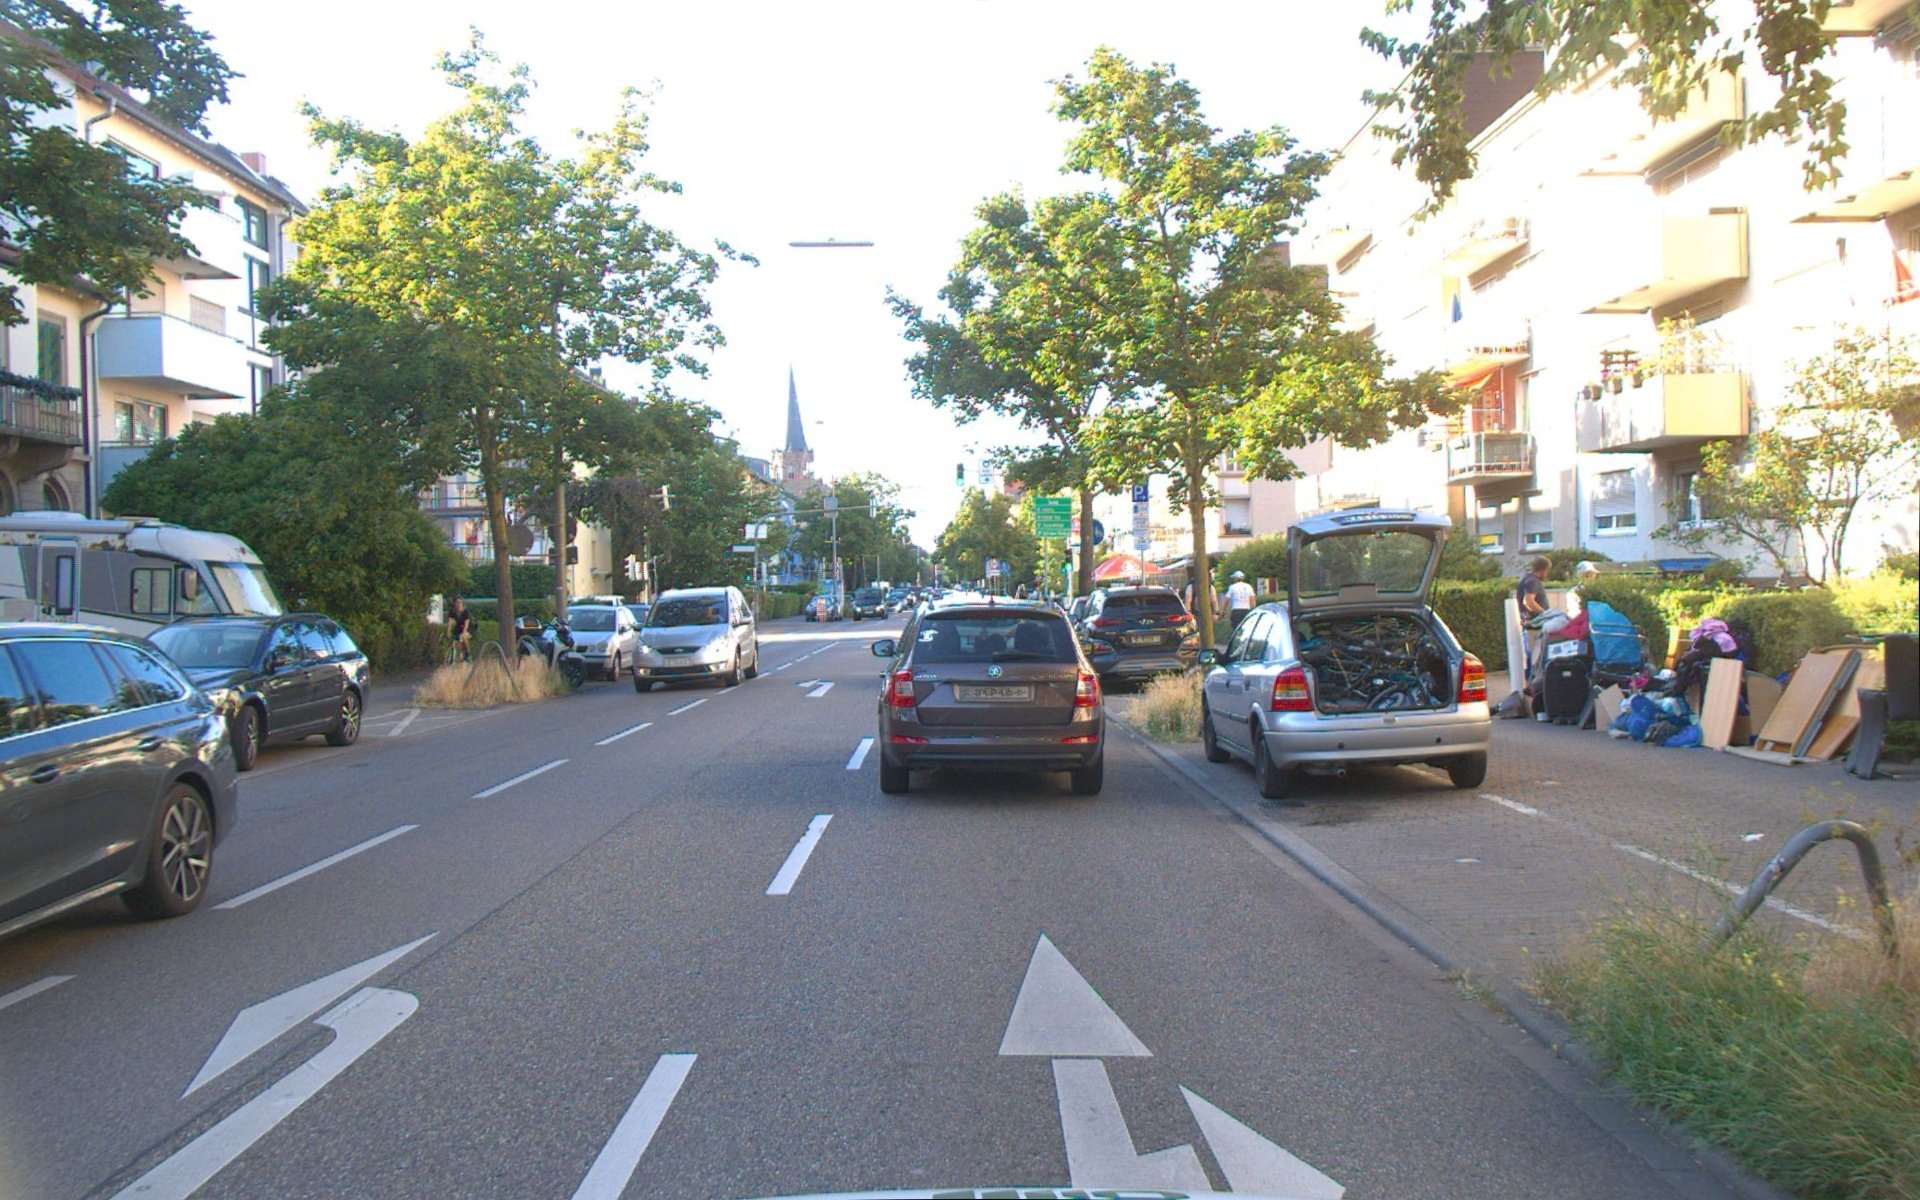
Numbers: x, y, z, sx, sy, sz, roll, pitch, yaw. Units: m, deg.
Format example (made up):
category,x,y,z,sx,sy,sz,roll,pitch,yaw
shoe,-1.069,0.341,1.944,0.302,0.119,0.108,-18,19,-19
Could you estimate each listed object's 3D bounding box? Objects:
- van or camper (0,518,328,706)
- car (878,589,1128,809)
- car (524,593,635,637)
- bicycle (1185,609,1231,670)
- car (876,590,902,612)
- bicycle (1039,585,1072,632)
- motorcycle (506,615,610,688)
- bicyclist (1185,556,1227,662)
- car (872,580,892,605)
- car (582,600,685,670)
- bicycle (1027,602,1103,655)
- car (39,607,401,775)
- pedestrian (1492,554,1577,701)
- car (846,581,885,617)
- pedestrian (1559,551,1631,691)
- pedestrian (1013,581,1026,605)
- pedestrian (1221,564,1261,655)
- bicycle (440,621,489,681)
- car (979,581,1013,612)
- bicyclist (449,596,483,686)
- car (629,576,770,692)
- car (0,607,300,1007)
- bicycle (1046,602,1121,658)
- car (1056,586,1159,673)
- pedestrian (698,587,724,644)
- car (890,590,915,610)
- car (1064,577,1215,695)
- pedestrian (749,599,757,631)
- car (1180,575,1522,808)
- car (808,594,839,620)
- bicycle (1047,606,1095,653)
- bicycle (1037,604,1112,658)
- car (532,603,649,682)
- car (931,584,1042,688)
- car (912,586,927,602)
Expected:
category,x,y,z,sx,sy,sz,roll,pitch,yaw
van or camper,-13.948,0.160,26.531,6.660,2.821,2.351,1,0,-2
car,0.267,0.675,13.644,1.737,1.515,4.310,0,0,-1
car,-17.090,0.658,74.456,4.540,1.843,1.861,-2,0,-1
bicycle,4.330,0.672,29.001,0.505,1.004,1.831,-1,0,0
car,-5.501,0.057,128.382,1.793,1.607,4.000,-2,0,0
bicycle,2.494,0.229,43.365,0.492,1.167,1.956,-4,0,-6
motorcycle,-7.420,0.945,30.507,2.015,1.287,0.764,-2,0,38
bicyclist,4.315,0.153,29.010,0.569,1.820,0.852,-1,0,0
car,-8.161,-0.751,173.190,1.953,2.521,4.000,-1,0,-1
car,-7.604,0.785,38.844,1.615,1.544,4.073,0,0,0
bicycle,2.621,0.706,41.165,1.796,1.177,0.684,-4,0,6
car,-7.620,0.854,17.592,1.829,1.521,4.517,0,0,0
pedestrian,6.732,0.314,19.381,0.742,1.668,0.693,-2,0,36
car,-5.512,-0.062,96.792,1.953,1.941,4.963,-3,0,-1
pedestrian,7.267,0.232,18.923,0.582,1.567,0.693,-2,0,36
pedestrian,4.403,-0.499,122.848,0.661,1.734,0.800,-1,0,26
pedestrian,5.648,0.188,33.238,0.648,1.779,0.773,-3,0,6
bicycle,-9.478,0.956,31.646,0.476,1.083,1.534,-1,0,-1
car,2.226,-0.228,100.961,1.952,1.803,4.001,0,0,2
bicyclist,-9.477,0.784,31.752,0.459,1.692,0.552,-1,0,-1
car,-4.628,0.561,30.028,1.769,1.836,4.745,-3,0,-1
car,-4.528,0.848,6.844,1.725,1.477,4.533,-4,0,-1
bicycle,2.612,0.632,35.090,1.538,1.123,0.392,-1,0,0
car,2.756,0.514,31.594,1.668,1.475,4.014,-3,0,2
pedestrian,-8.992,0.570,59.787,0.764,2.022,0.821,-2,0,0
car,-5.014,0.000,144.260,1.953,1.639,4.000,-2,0,0
car,2.730,0.517,25.970,1.818,1.609,4.013,-3,0,-1
pedestrian,-9.895,0.717,79.058,0.294,1.530,0.640,-1,0,0
car,2.992,0.623,13.580,1.673,1.506,4.267,-3,0,-1
car,-7.980,0.401,96.588,1.491,1.482,3.584,-1,0,0
bicycle,2.655,0.697,39.470,0.606,1.069,1.572,-1,0,25
bicycle,2.649,0.719,38.206,1.651,1.126,0.517,-4,0,6
car,-7.574,0.830,34.214,1.561,1.496,3.803,1,0,0
car,0.420,0.549,27.560,1.701,1.598,4.000,0,0,0
car,-5.513,-0.829,224.446,1.953,2.049,4.000,-2,0,0
